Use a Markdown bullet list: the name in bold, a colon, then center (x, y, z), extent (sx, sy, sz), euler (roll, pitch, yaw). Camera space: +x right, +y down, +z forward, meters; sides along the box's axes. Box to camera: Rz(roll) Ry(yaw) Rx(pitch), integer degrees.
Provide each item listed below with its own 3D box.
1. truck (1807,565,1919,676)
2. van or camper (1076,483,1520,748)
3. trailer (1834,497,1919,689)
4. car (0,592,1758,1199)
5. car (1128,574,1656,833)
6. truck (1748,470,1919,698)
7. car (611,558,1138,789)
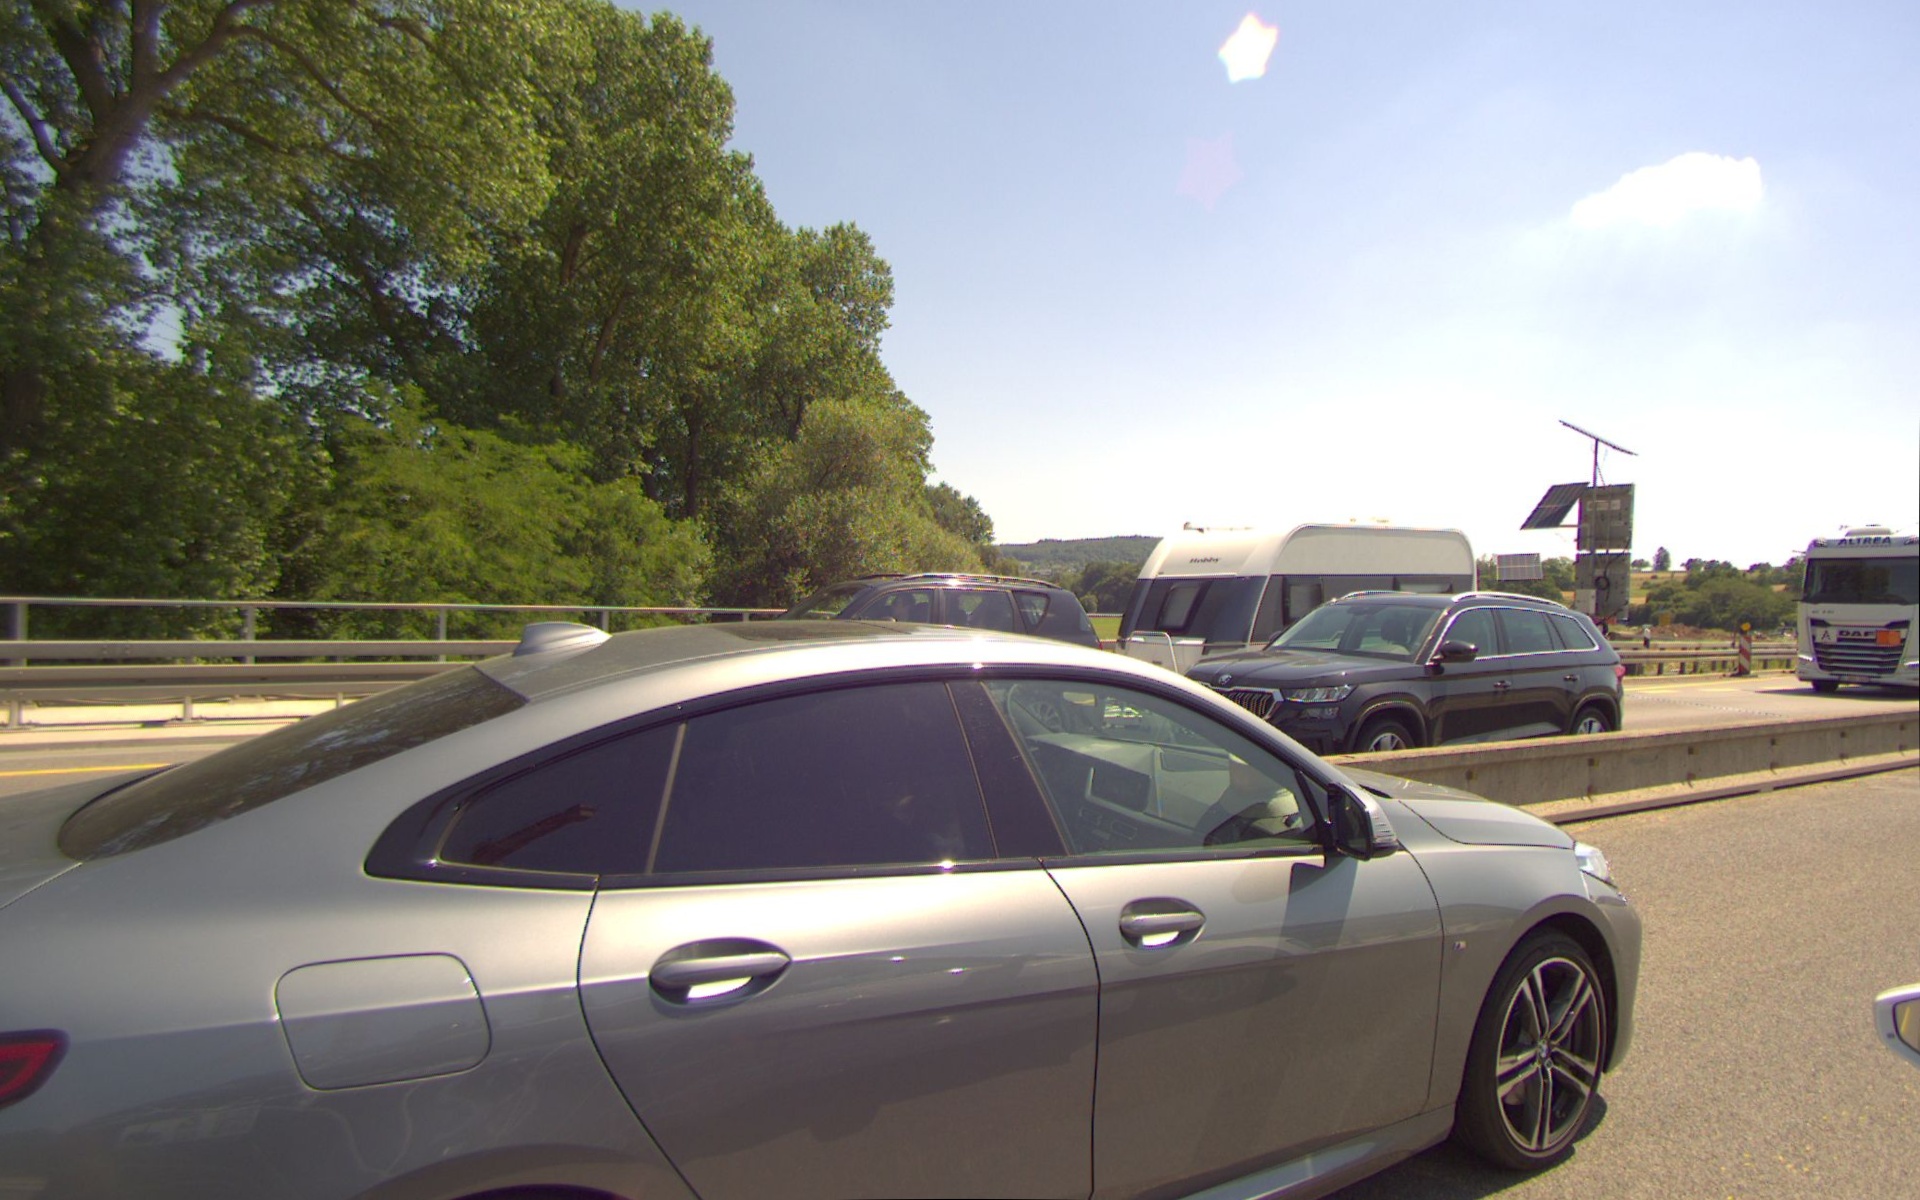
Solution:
- **truck**: center (35.664, 0.755, 37.835), extent (8.264, 3.815, 2.892), euler (1, 1, -29)
- **van or camper**: center (4.328, 0.208, 12.737), extent (5.180, 2.734, 2.493), euler (1, 0, -29)
- **trailer**: center (28.166, -0.026, 26.907), extent (12.863, 4.524, 3.088), euler (1, -1, -30)
- **car**: center (0.031, 0.761, 2.744), extent (4.687, 1.471, 1.842), euler (1, 0, -31)
- **car**: center (3.838, 0.723, 8.705), extent (4.565, 1.710, 1.838), euler (1, 2, -31)
- **truck**: center (21.760, -0.259, 23.205), extent (7.016, 4.597, 3.064), euler (1, 0, -29)
- **car**: center (-0.707, 0.613, 9.619), extent (4.734, 1.757, 1.759), euler (1, -1, -30)
